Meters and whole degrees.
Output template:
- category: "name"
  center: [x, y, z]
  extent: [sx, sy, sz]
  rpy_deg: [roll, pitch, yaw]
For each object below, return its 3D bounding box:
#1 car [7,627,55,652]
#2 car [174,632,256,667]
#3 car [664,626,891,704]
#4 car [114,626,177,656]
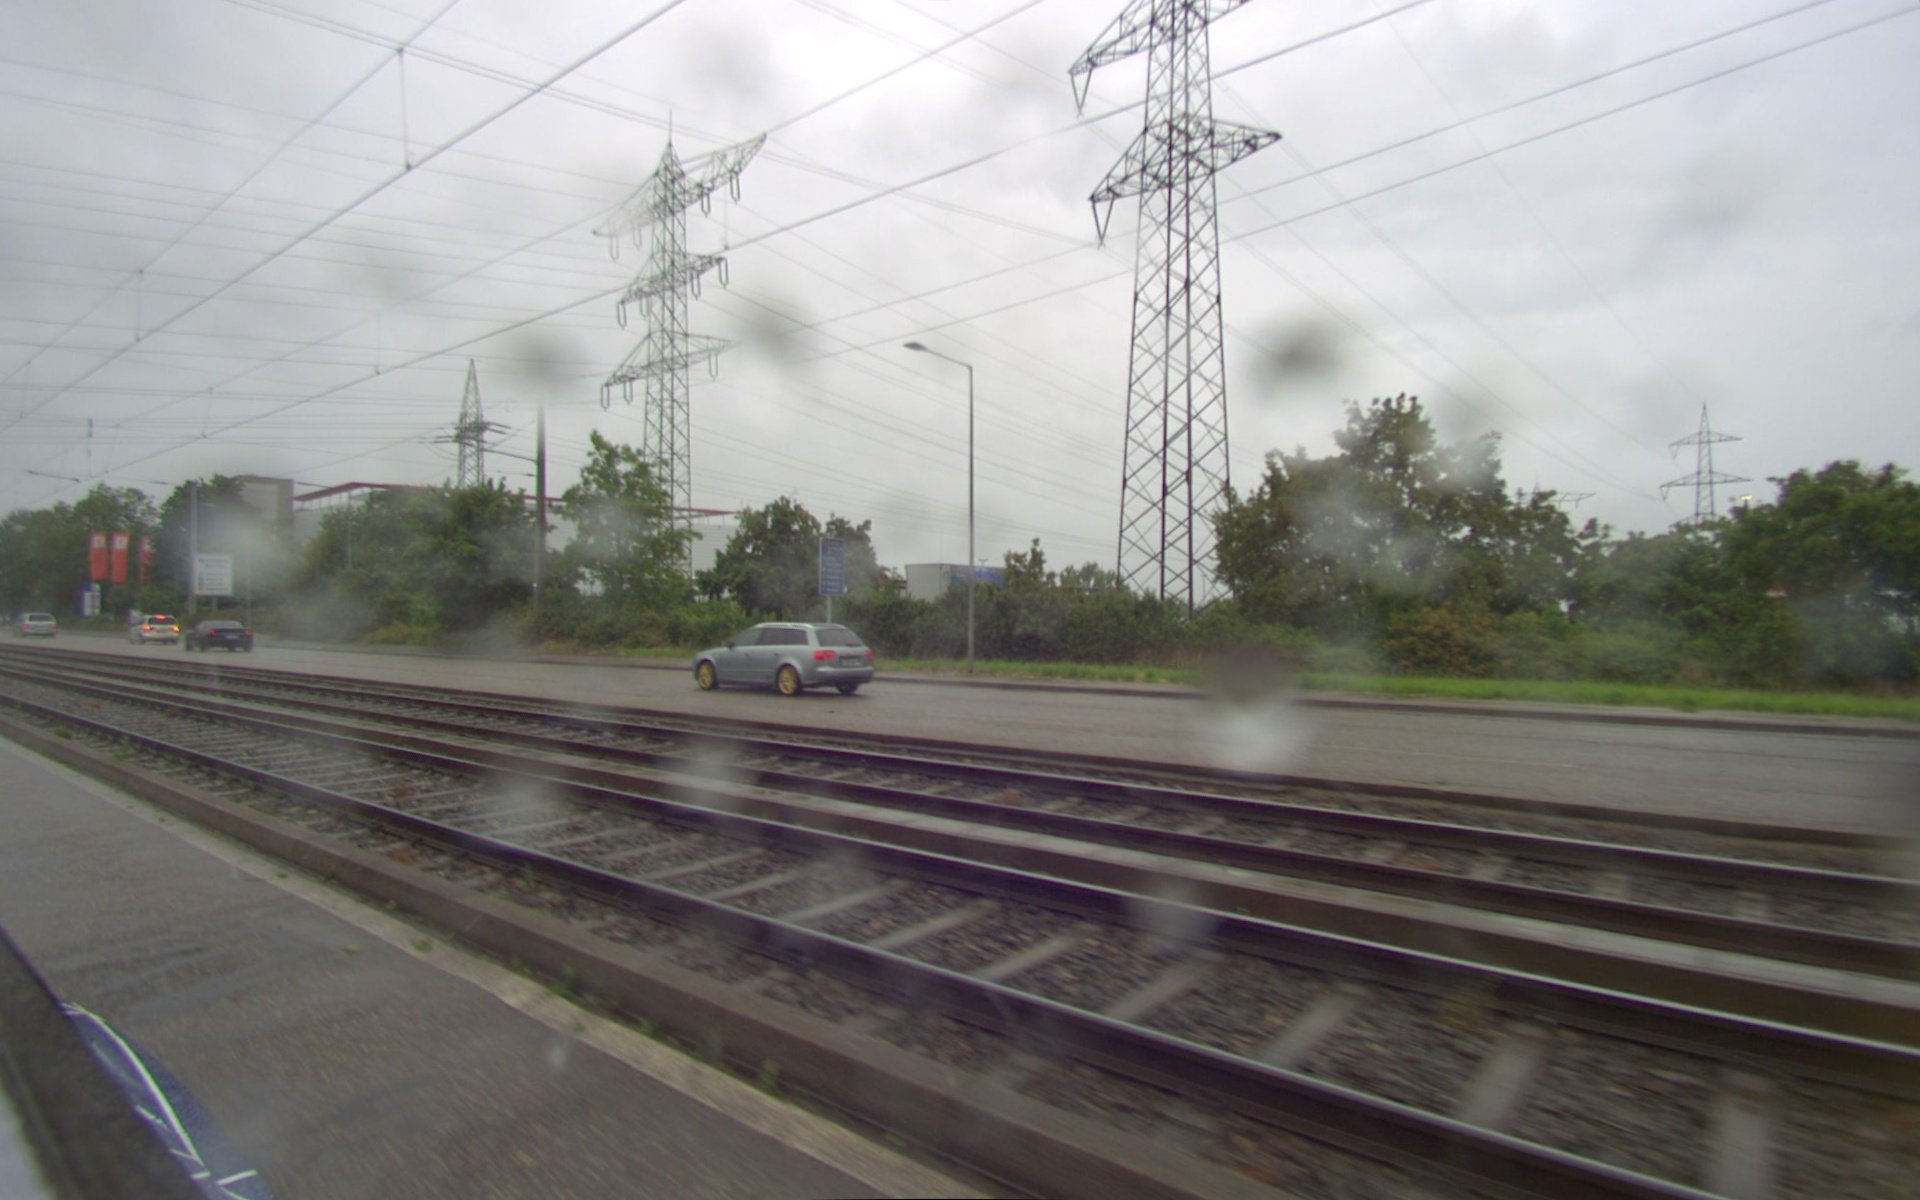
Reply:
- category: "car"
  center: [-66.400, 2.820, 72.296]
  extent: [5.131, 1.647, 1.807]
  rpy_deg: [-2, -1, 39]
- category: "car"
  center: [-33.911, 2.251, 45.995]
  extent: [5.250, 1.475, 1.972]
  rpy_deg: [-2, -4, 42]
- category: "car"
  center: [-3.882, 1.291, 20.929]
  extent: [5.066, 1.373, 1.740]
  rpy_deg: [-2, -1, 39]
- category: "car"
  center: [-46.796, 2.336, 58.119]
  extent: [5.060, 1.586, 1.824]
  rpy_deg: [-2, -1, 39]
